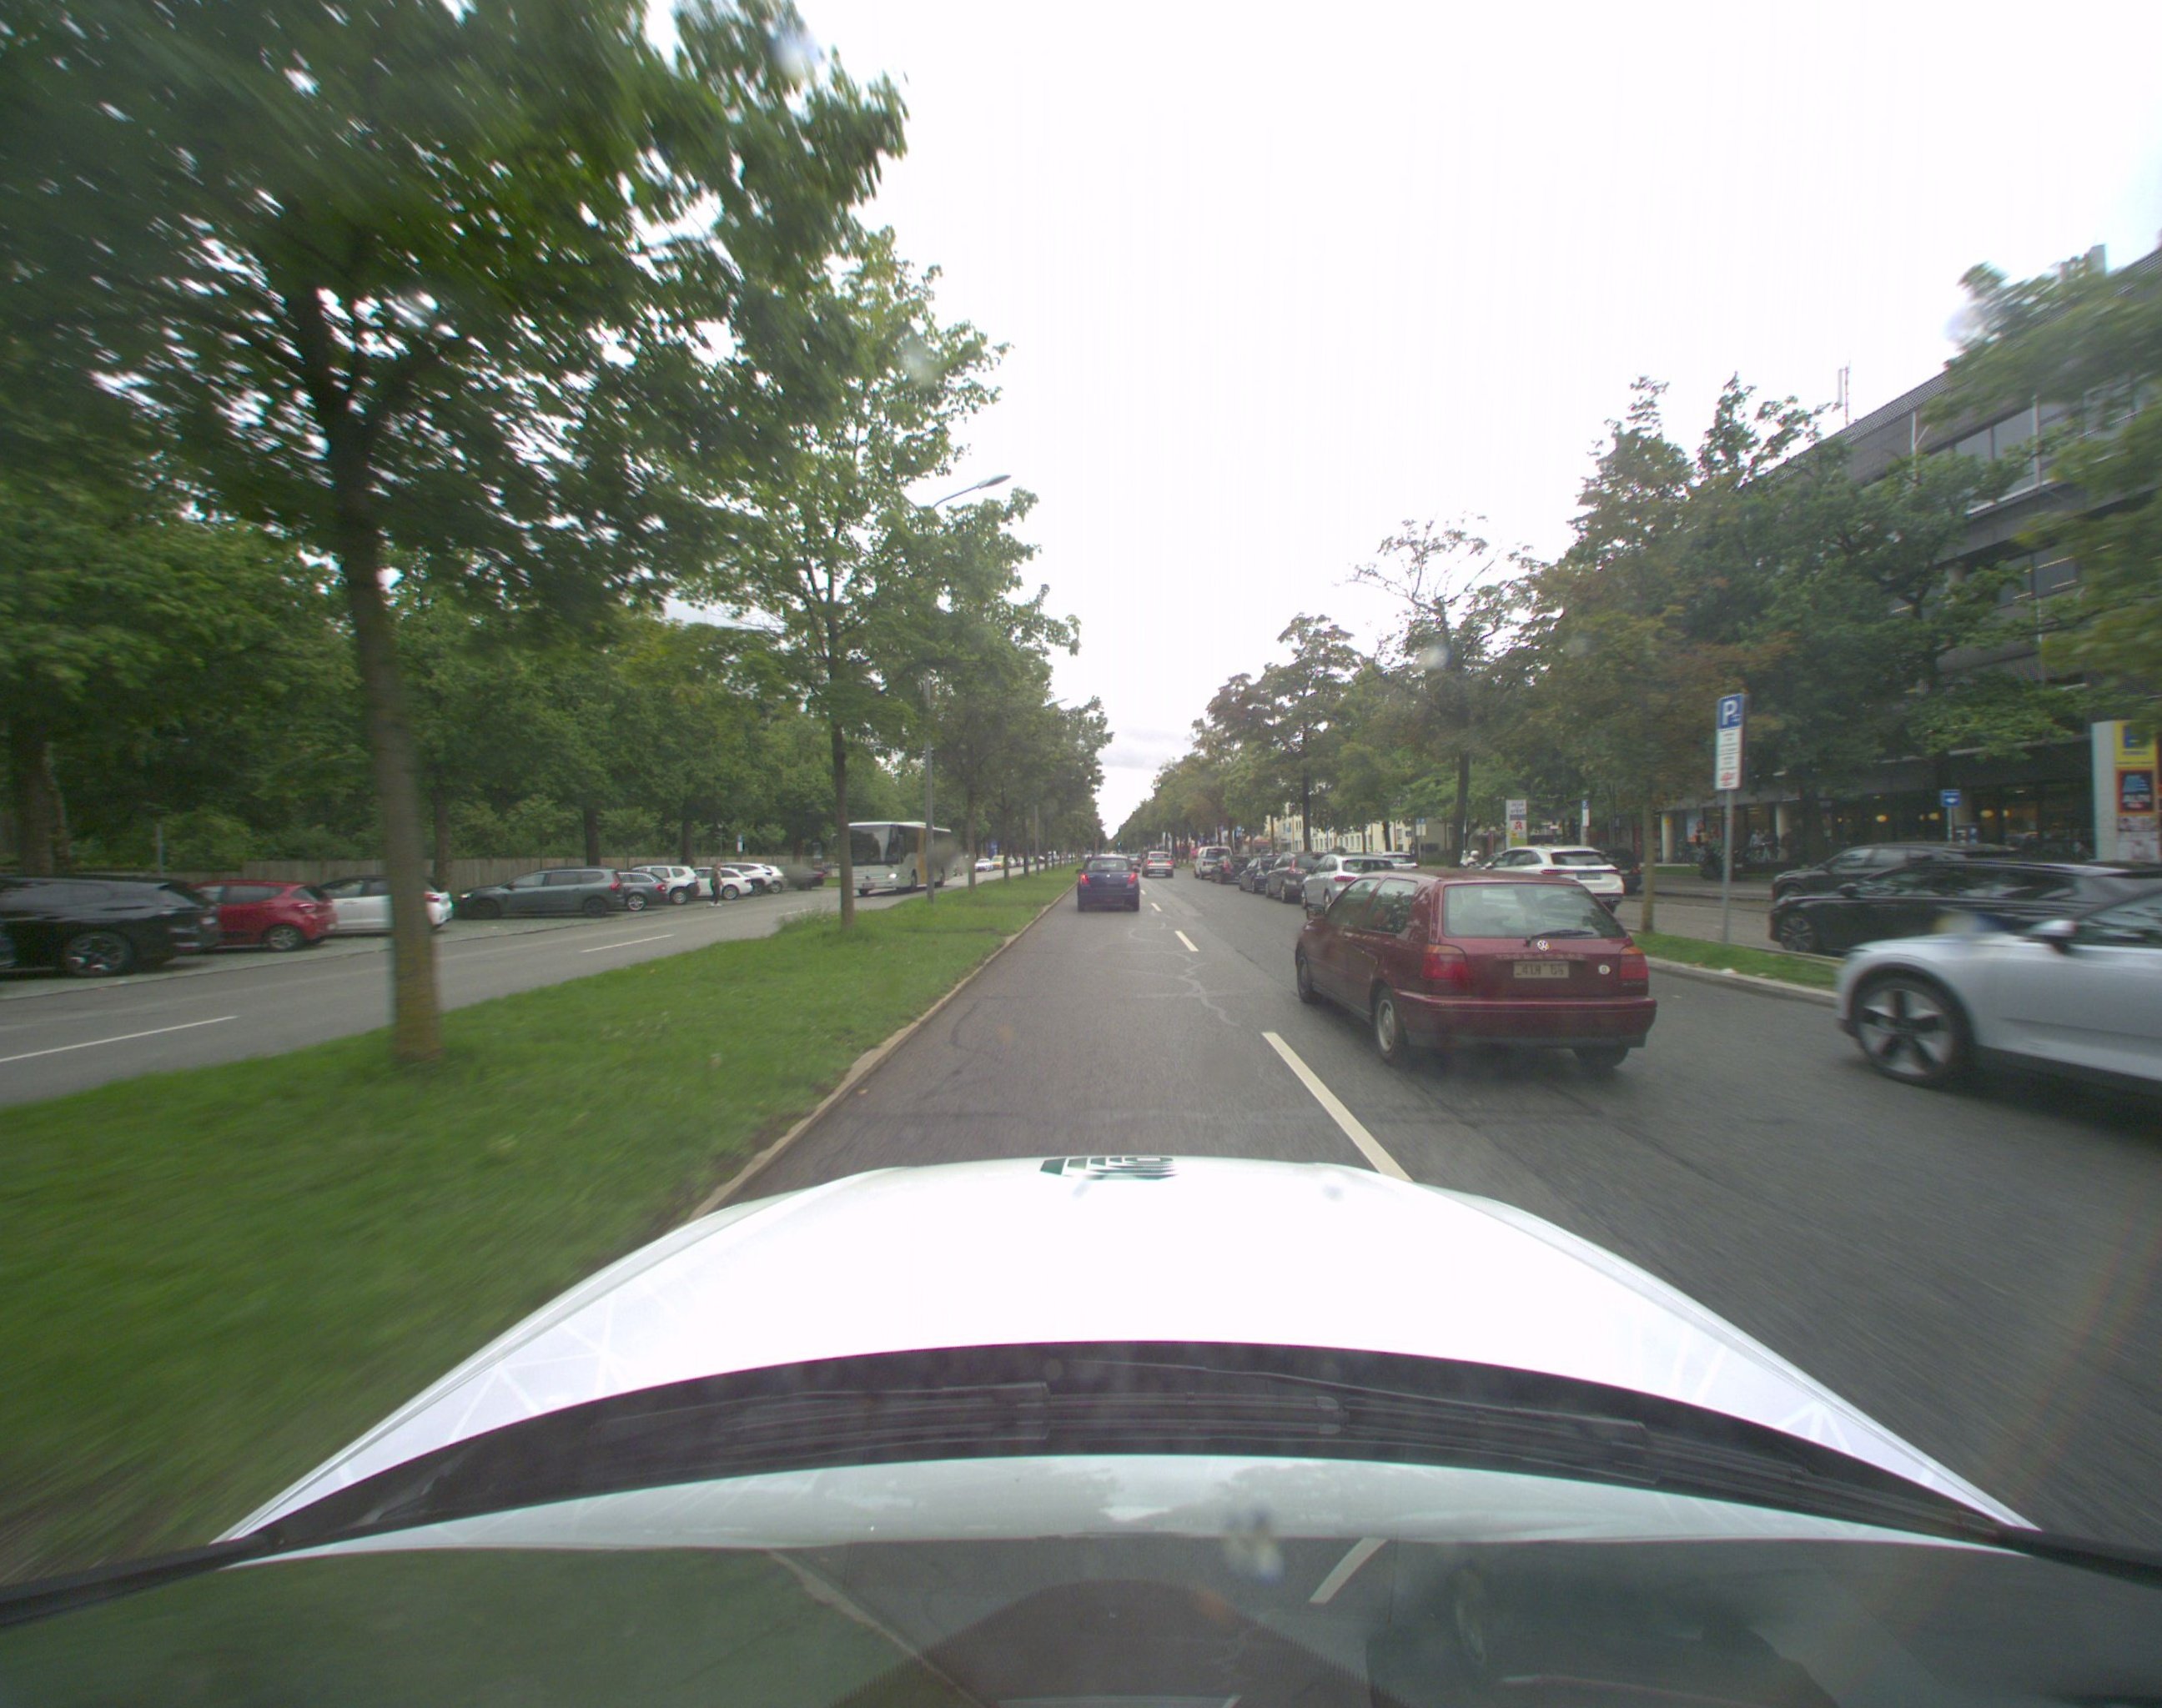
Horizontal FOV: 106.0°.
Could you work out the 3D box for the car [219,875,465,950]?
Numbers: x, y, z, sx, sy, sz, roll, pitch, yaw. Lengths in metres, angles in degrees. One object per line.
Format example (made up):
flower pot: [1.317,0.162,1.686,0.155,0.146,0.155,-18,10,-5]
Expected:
car: [-17.983,1.356,20.114,4.119,1.501,1.901,-2,0,-29]

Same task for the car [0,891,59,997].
car: [-17.429,1.356,10.965,4.122,1.469,1.900,-2,0,-32]

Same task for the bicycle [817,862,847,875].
bicycle: [-22.099,1.268,72.295,2.488,1.144,0.601,0,0,4]

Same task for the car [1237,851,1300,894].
car: [7.309,0.684,32.057,1.677,1.553,4.309,-1,0,3]

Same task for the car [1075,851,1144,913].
car: [0.762,0.724,23.201,1.783,1.555,4.000,-1,0,0]

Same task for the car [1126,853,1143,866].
car: [6.240,0.673,95.322,1.844,1.447,4.098,-1,0,0]

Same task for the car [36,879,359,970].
car: [-18.071,1.367,16.993,4.119,1.501,1.901,-2,0,-29]

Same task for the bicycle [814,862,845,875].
bicycle: [-22.120,1.245,71.598,2.488,1.144,0.708,0,0,4]

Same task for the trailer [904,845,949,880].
trailer: [-11.906,0.593,63.104,2.097,2.540,5.580,-2,0,2]

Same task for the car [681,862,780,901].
car: [-16.845,1.277,39.140,4.122,1.652,1.900,-2,0,-32]

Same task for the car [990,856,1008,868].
car: [-10.518,1.053,105.025,1.844,1.447,4.098,-1,0,0]

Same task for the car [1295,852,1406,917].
car: [6.947,0.724,21.473,1.677,1.525,4.459,0,0,3]

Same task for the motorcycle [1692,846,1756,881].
motorcycle: [22.672,0.318,28.746,0.603,1.140,2.052,-5,0,2]

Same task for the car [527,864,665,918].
car: [-17.318,1.275,29.230,4.122,1.695,1.900,-2,0,-32]

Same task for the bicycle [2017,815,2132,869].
bicycle: [29.436,-0.340,24.148,2.605,1.508,0.797,-2,0,-5]

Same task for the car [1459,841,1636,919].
car: [11.097,0.542,19.812,1.678,1.632,4.782,-1,0,2]

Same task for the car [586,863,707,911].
car: [-17.308,1.259,32.487,4.122,1.695,1.900,-2,0,-32]

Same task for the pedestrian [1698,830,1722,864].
pedestrian: [32.104,-0.344,41.583,0.678,1.704,0.698,0,0,2]

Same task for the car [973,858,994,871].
car: [-11.269,1.206,94.143,1.844,1.447,4.098,-1,0,0]

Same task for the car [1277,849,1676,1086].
car: [2.946,0.707,7.069,1.616,1.454,3.951,-1,0,2]

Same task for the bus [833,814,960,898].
bus: [-8.583,0.057,39.855,2.727,3.377,12.022,-3,0,3]

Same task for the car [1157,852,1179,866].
car: [9.287,0.551,87.124,1.844,1.447,4.098,-1,0,0]

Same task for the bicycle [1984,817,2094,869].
bicycle: [29.423,-0.343,25.025,2.605,1.508,0.797,-2,0,-5]

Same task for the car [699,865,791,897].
car: [-17.299,1.354,41.954,4.122,1.474,1.900,-2,0,-32]

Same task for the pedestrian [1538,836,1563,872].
pedestrian: [22.825,-0.007,39.607,0.745,1.706,0.702,-2,0,2]

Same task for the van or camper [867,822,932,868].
van or camper: [-11.992,-0.592,54.558,2.300,2.833,7.498,-2,0,2]

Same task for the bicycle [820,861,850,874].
bicycle: [-22.030,1.239,73.076,2.488,1.144,0.655,0,0,4]

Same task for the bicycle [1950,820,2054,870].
bicycle: [29.514,-0.274,26.106,2.605,1.508,0.797,-2,0,-5]

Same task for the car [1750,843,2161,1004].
car: [10.699,0.625,9.789,1.676,1.454,4.739,-1,0,4]

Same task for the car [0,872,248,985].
car: [-17.341,1.230,13.795,4.122,1.679,1.900,-2,0,-32]

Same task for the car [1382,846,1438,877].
car: [18.160,0.387,45.149,1.676,1.585,4.032,-1,0,4]

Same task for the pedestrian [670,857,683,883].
pedestrian: [-25.508,1.016,51.375,0.682,1.612,0.686,-1,0,-29]

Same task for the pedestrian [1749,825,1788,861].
pedestrian: [33.042,-0.526,39.145,1.012,1.704,1.047,0,0,2]

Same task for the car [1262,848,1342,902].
car: [7.199,0.631,26.893,1.677,1.626,4.309,0,0,3]

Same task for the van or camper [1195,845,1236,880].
van or camper: [7.994,0.471,48.800,1.936,1.975,4.309,-1,0,3]

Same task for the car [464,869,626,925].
car: [-17.215,1.325,26.428,4.199,1.542,1.901,-2,0,-29]

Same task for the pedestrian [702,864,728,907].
pedestrian: [-14.172,1.217,31.534,0.723,1.612,0.678,-1,0,-6]

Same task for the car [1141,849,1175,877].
car: [4.996,0.544,53.204,1.844,1.743,4.098,-1,0,0]

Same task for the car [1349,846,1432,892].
car: [11.555,0.538,30.692,1.678,1.585,4.029,-1,0,2]

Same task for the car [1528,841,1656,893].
car: [17.484,0.412,28.116,1.678,1.632,4.383,-1,0,0]

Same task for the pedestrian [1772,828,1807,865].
pedestrian: [32.993,-0.343,37.918,0.959,1.704,0.799,0,0,2]

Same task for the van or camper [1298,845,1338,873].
van or camper: [17.648,0.324,60.772,1.936,1.975,4.309,-1,0,3]

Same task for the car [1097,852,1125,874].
car: [2.136,0.623,58.669,1.844,1.447,4.098,-1,0,0]

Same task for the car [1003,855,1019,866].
car: [-10.058,0.940,117.826,1.844,1.447,4.098,-1,0,0]

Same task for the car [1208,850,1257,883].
car: [7.827,0.619,42.388,1.679,1.553,4.305,-1,0,0]

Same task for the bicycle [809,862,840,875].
bicycle: [-22.218,1.249,70.601,2.488,1.144,0.724,0,0,4]

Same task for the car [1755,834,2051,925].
car: [16.856,0.461,17.106,1.678,1.632,4.498,-1,0,0]

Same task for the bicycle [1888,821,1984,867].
bicycle: [29.519,-0.344,28.133,2.605,1.508,0.797,-2,0,-5]

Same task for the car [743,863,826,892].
car: [-16.491,1.291,45.354,4.121,1.474,1.688,0,-1,-32]

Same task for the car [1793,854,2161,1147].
car: [6.254,0.746,3.958,1.700,1.454,4.512,1,0,1]

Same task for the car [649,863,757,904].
car: [-16.741,1.258,36.111,4.122,1.585,1.900,-2,0,-32]
